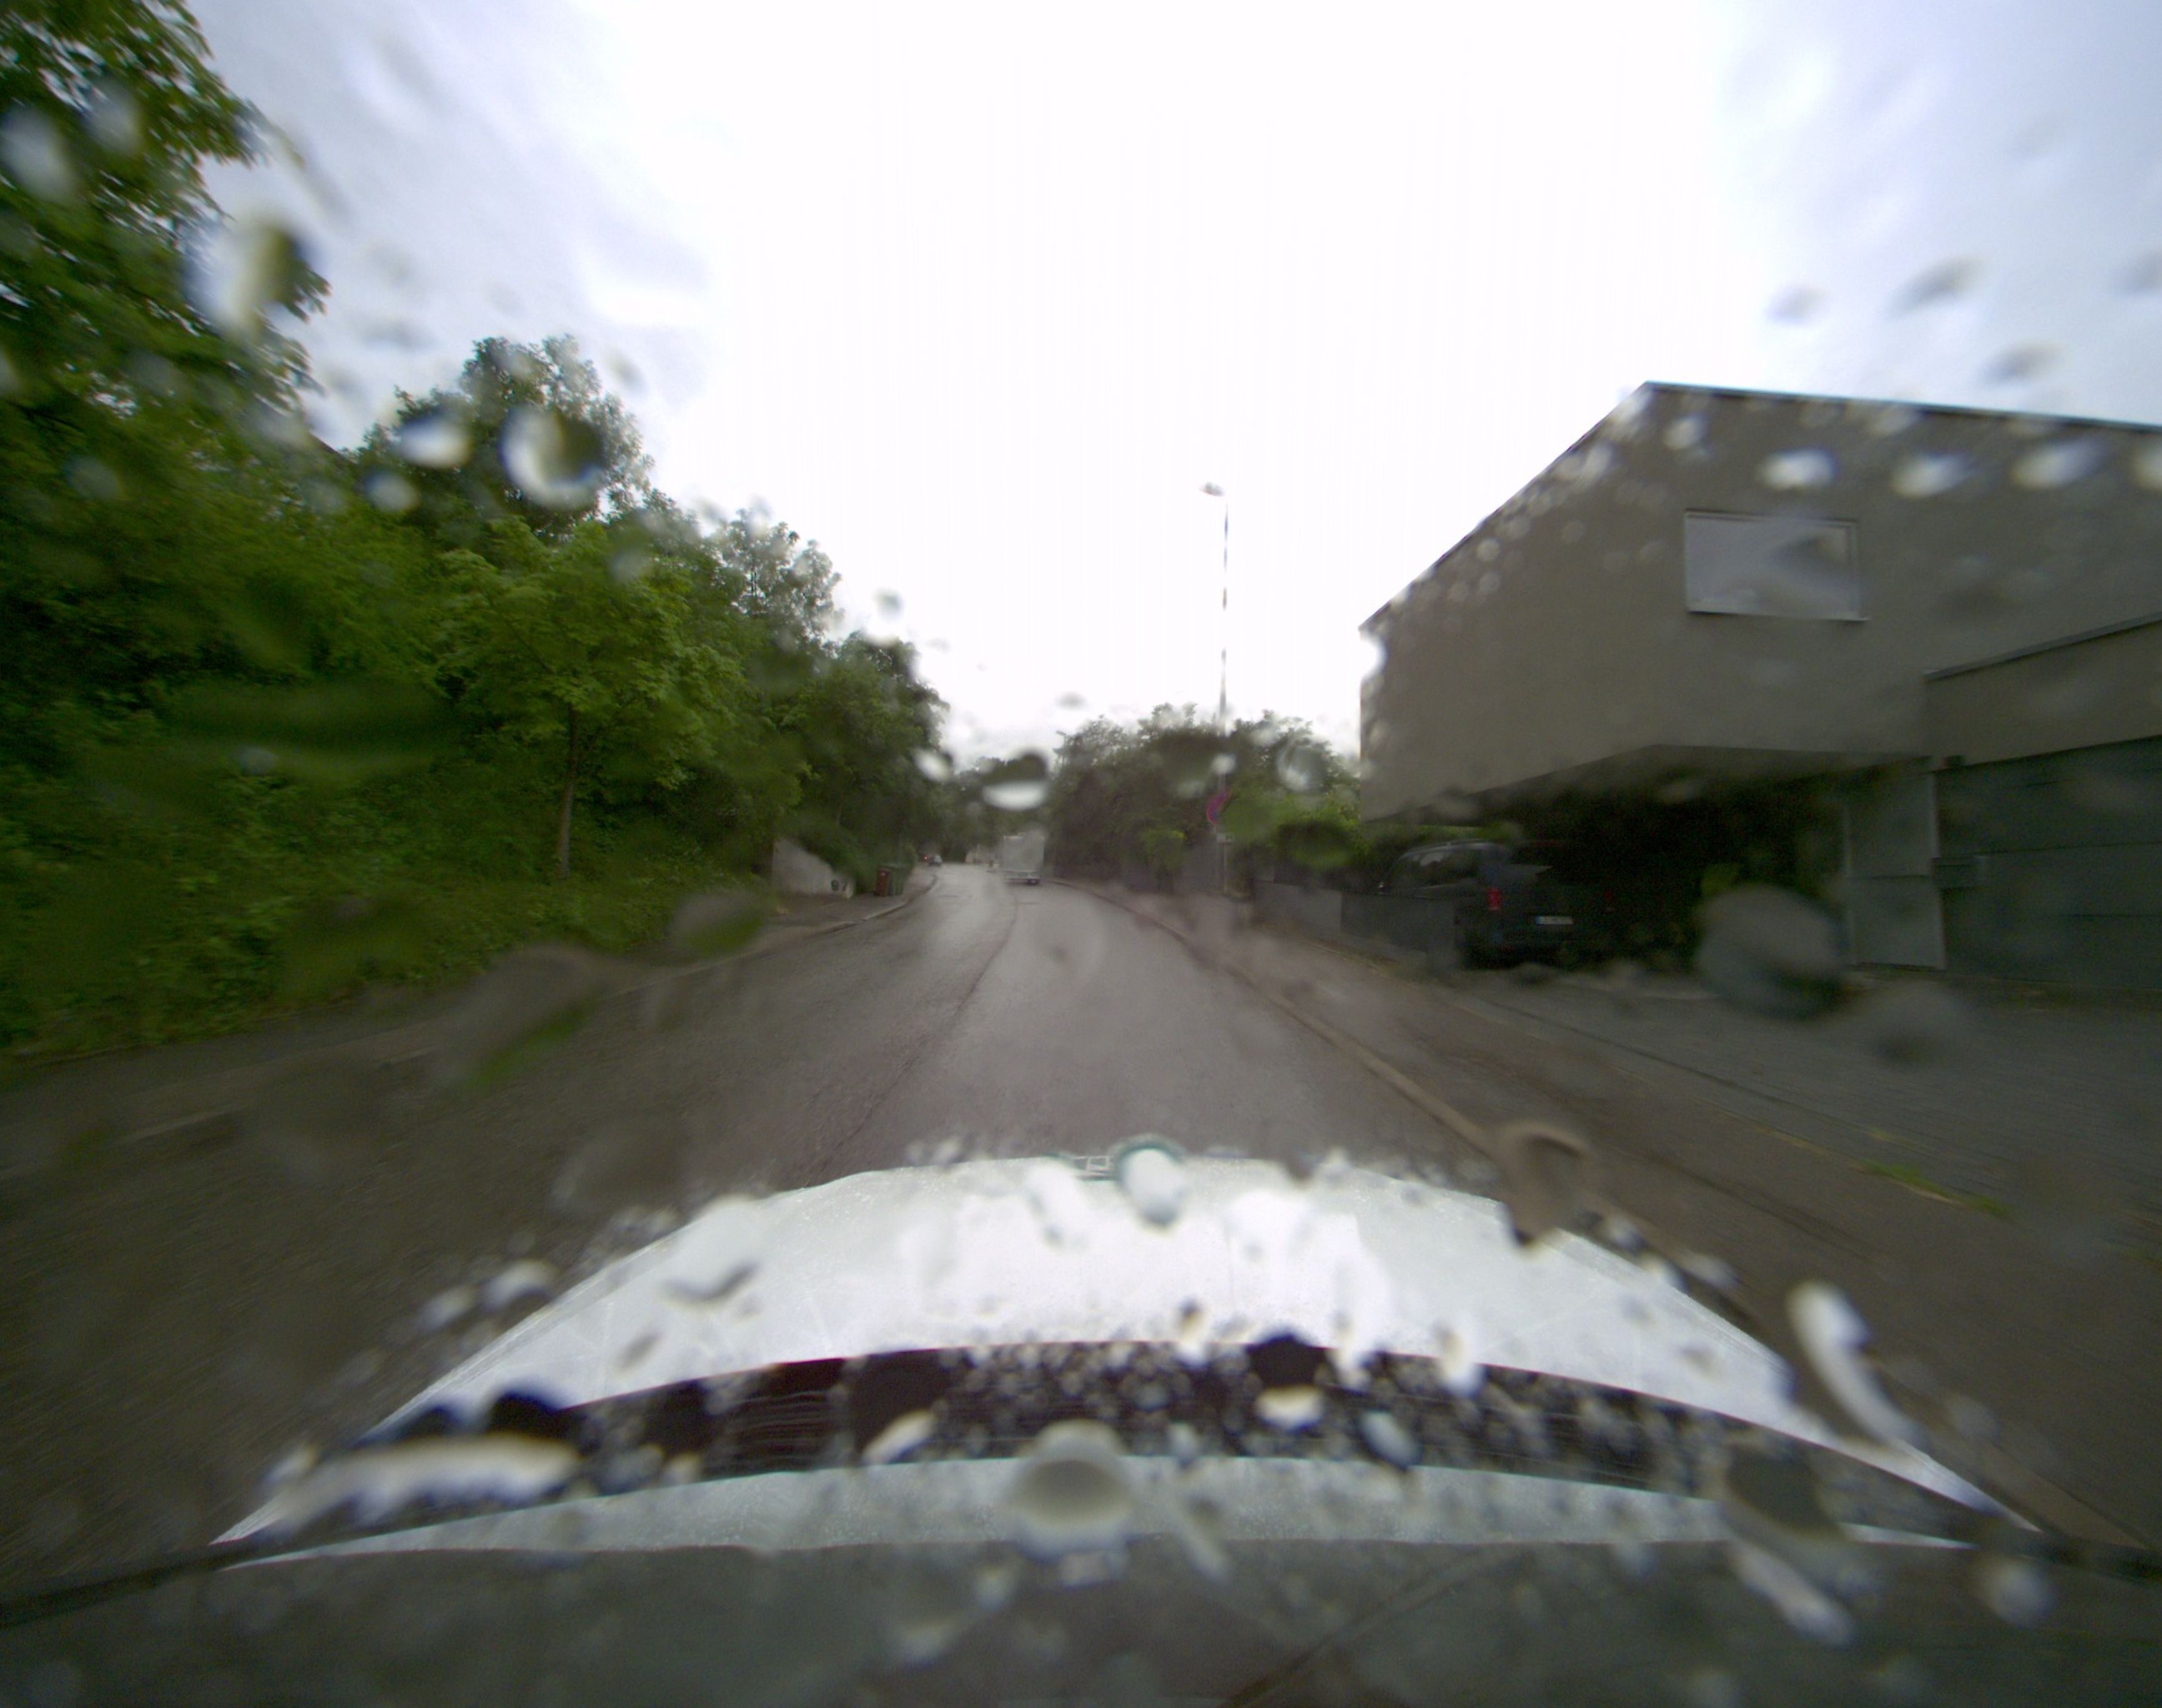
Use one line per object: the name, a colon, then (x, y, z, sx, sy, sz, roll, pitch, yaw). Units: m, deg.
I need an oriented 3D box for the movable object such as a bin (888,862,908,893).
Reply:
movable object such as a bin: (-6.671, 0.849, 29.727, 0.647, 1.115, 0.504, 1, -1, -5)

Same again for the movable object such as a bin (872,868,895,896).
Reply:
movable object such as a bin: (-6.665, 0.951, 27.527, 0.647, 0.911, 0.672, 1, -1, -5)

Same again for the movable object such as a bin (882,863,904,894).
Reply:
movable object such as a bin: (-6.704, 0.864, 29.114, 0.647, 1.104, 0.672, 1, -1, -5)

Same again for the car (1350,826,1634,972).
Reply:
car: (6.293, 0.725, 13.289, 1.989, 1.941, 4.766, 0, -3, -3)

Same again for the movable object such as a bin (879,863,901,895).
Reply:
movable object such as a bin: (-6.658, 0.860, 28.370, 0.647, 1.081, 0.672, 1, -1, -5)

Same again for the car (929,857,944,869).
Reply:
car: (-18.133, 1.134, 102.431, 1.649, 1.385, 3.521, 1, -1, -7)

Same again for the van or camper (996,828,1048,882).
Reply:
van or camper: (-3.515, 0.122, 47.184, 2.539, 2.925, 5.929, 0, -1, -9)
